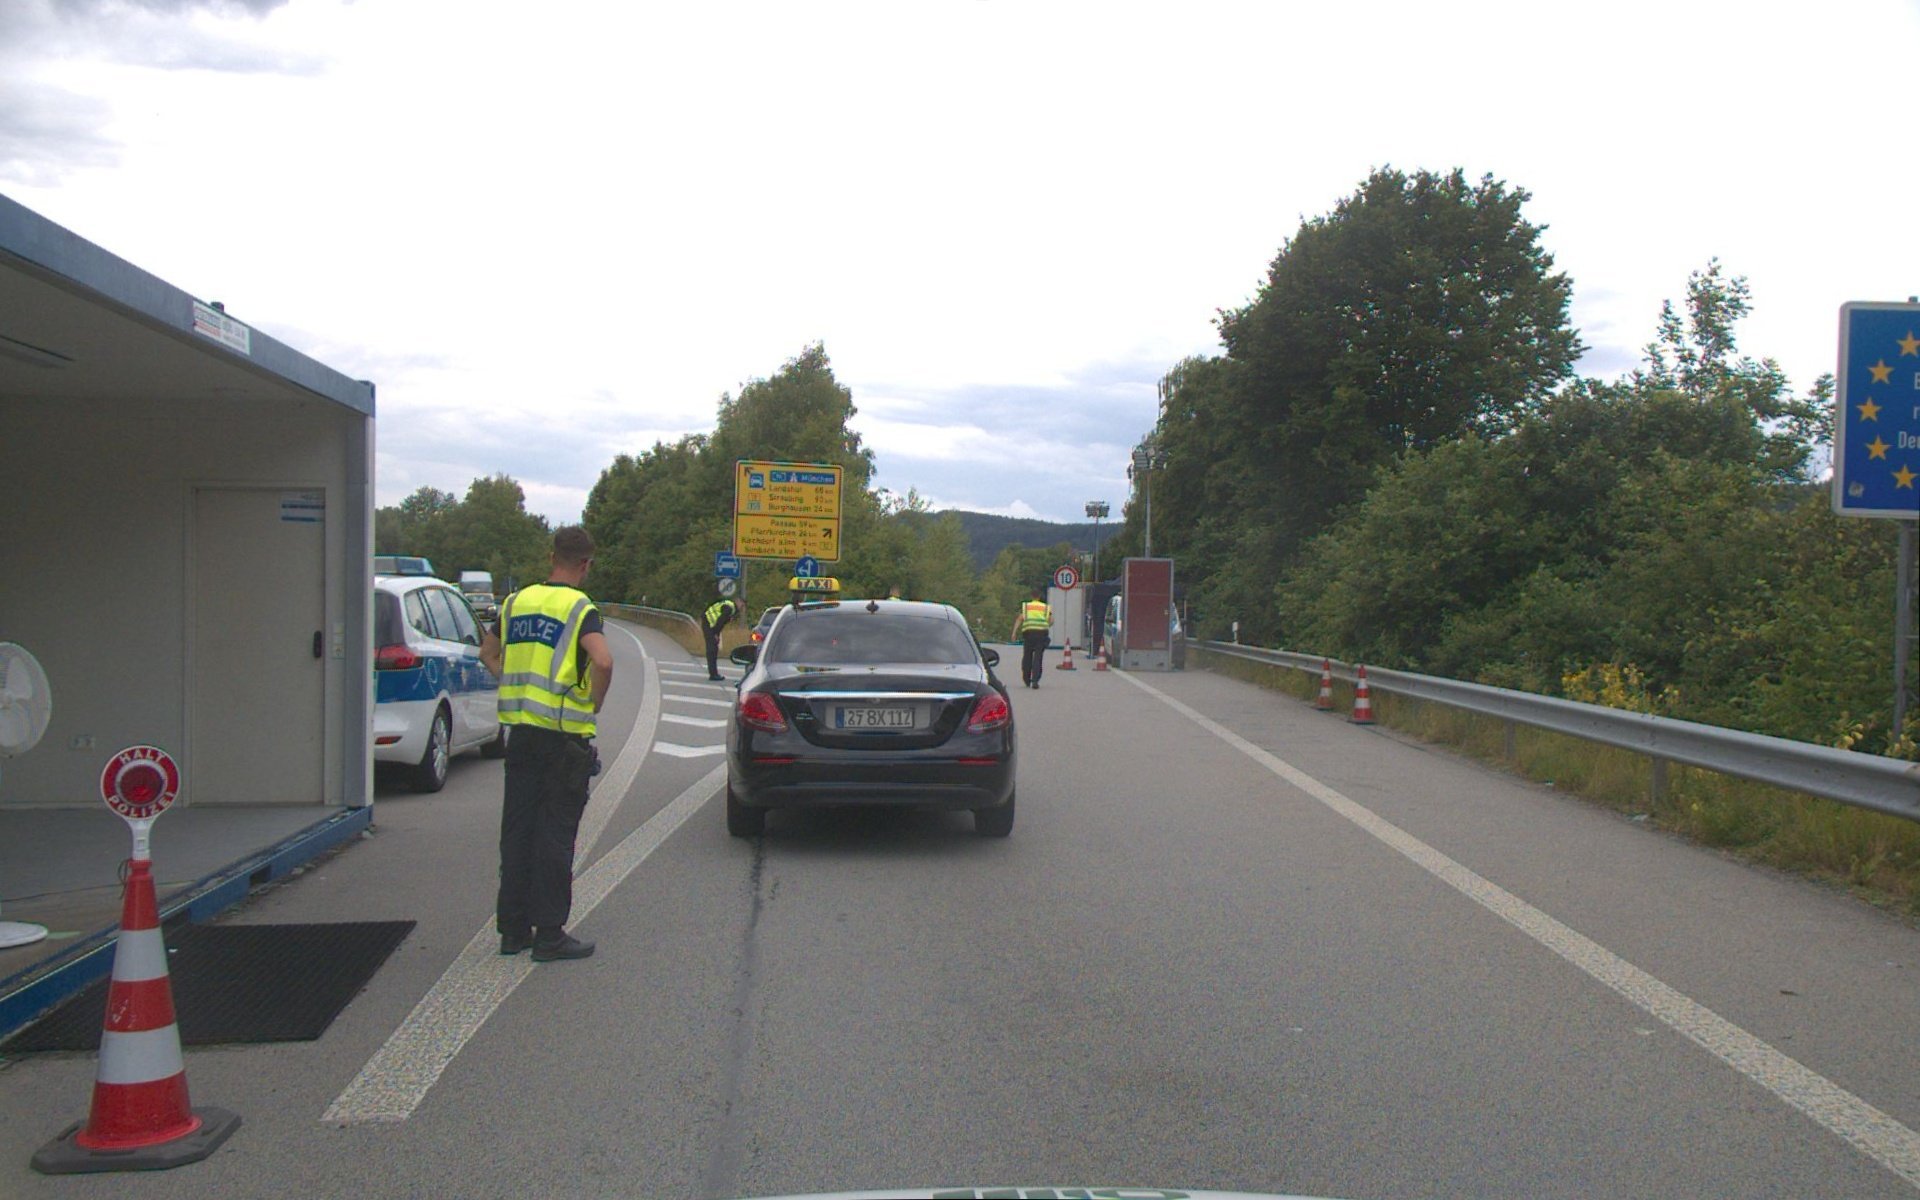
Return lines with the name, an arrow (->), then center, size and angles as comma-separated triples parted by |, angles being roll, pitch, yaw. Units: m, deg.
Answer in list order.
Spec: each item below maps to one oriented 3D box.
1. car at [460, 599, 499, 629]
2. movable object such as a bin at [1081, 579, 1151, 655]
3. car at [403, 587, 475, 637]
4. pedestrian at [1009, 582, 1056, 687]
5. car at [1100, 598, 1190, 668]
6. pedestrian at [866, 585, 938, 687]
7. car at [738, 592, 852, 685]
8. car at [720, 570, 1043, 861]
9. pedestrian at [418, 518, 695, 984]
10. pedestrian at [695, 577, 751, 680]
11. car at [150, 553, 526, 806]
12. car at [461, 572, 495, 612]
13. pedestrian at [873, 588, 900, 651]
car -> -24.568, 0.712, 84.650 | 1.821, 1.488, 3.983 | 1, 0, -16
movable object such as a bin -> 4.992, 0.520, 53.419 | 1.952, 2.320, 4.169 | 1, 0, 2
car -> -16.389, 0.356, 52.205 | 1.823, 1.524, 4.242 | 0, 0, -13
pedestrian -> 1.302, 0.607, 29.674 | 0.796, 1.862, 0.809 | 0, 0, -1
car -> 4.924, 0.826, 44.575 | 1.877, 1.707, 5.083 | 2, 0, 1
pedestrian -> -1.009, 0.611, 28.644 | 0.900, 1.727, 0.904 | 1, 0, -32
car -> -2.863, 0.640, 29.480 | 1.818, 1.524, 4.254 | 0, 0, -3
car -> -0.666, 0.647, 11.528 | 1.820, 1.623, 4.369 | 0, 0, -6
pedestrian -> -1.643, 0.568, 6.767 | 0.747, 1.748, 0.815 | 0, 0, 36
pedestrian -> -4.231, 0.504, 29.544 | 0.892, 1.800, 0.911 | 1, 0, -4
car -> -4.895, 0.559, 13.642 | 1.832, 1.774, 4.004 | 0, 0, -4
car -> -28.016, -0.487, 96.123 | 1.825, 2.261, 4.238 | 0, 0, -16
pedestrian -> -2.341, 0.614, 52.843 | 0.650, 1.995, 0.760 | 0, 0, 15
